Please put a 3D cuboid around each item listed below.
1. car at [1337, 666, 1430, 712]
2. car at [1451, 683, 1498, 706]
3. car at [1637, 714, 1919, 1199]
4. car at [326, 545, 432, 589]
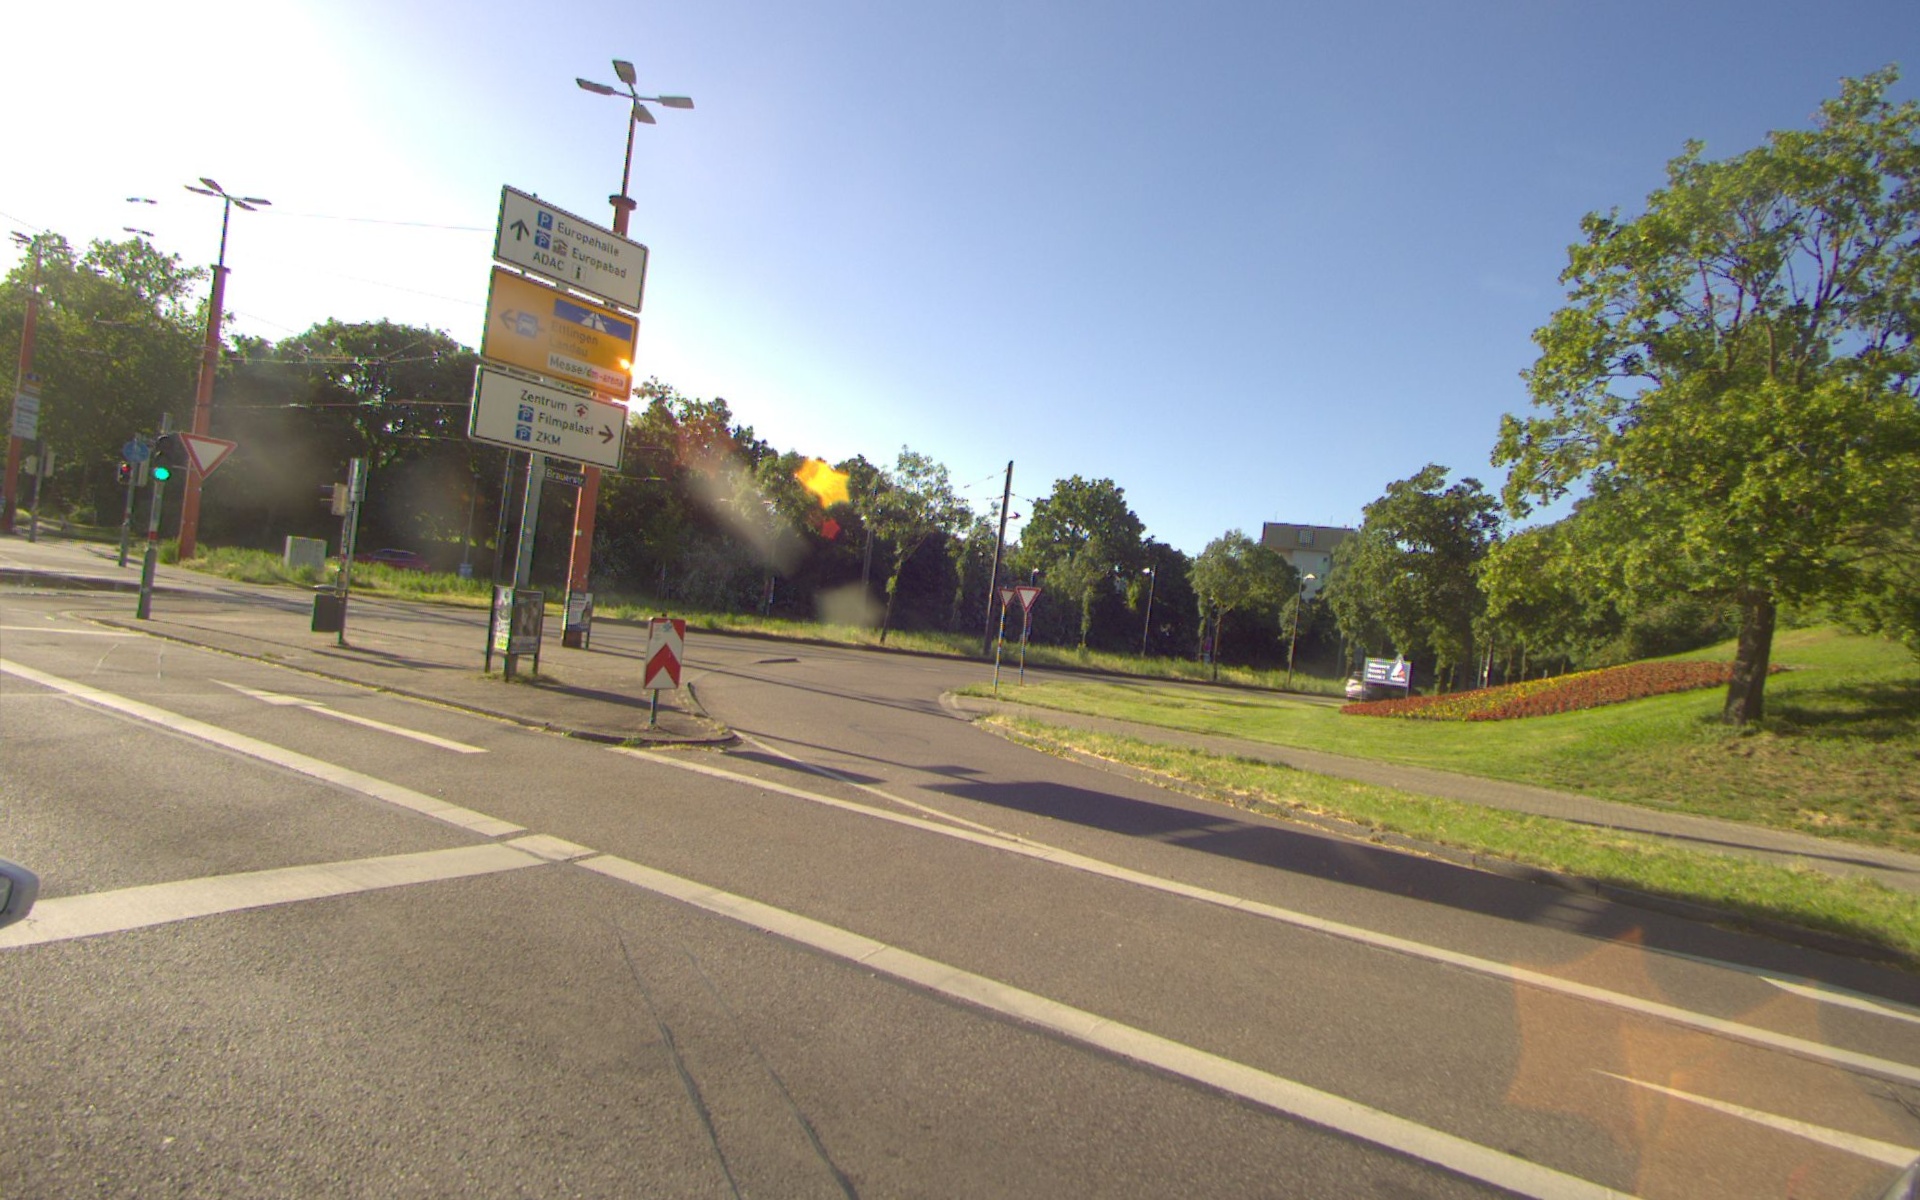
[{"bbox_3d":[20.922,4.396,49.617,4.652,1.724,1.981,8,-2,-35],"label":"car"},{"bbox_3d":[51.807,9.527,101.202,4.772,1.752,1.983,8,-1,-33],"label":"car"},{"bbox_3d":[3.372,1.192,0.737,4.543,1.500,1.739,7,-1,30],"label":"car"},{"bbox_3d":[-28.320,-1.602,49.069,4.248,1.513,1.983,8,-1,-33],"label":"car"}]
